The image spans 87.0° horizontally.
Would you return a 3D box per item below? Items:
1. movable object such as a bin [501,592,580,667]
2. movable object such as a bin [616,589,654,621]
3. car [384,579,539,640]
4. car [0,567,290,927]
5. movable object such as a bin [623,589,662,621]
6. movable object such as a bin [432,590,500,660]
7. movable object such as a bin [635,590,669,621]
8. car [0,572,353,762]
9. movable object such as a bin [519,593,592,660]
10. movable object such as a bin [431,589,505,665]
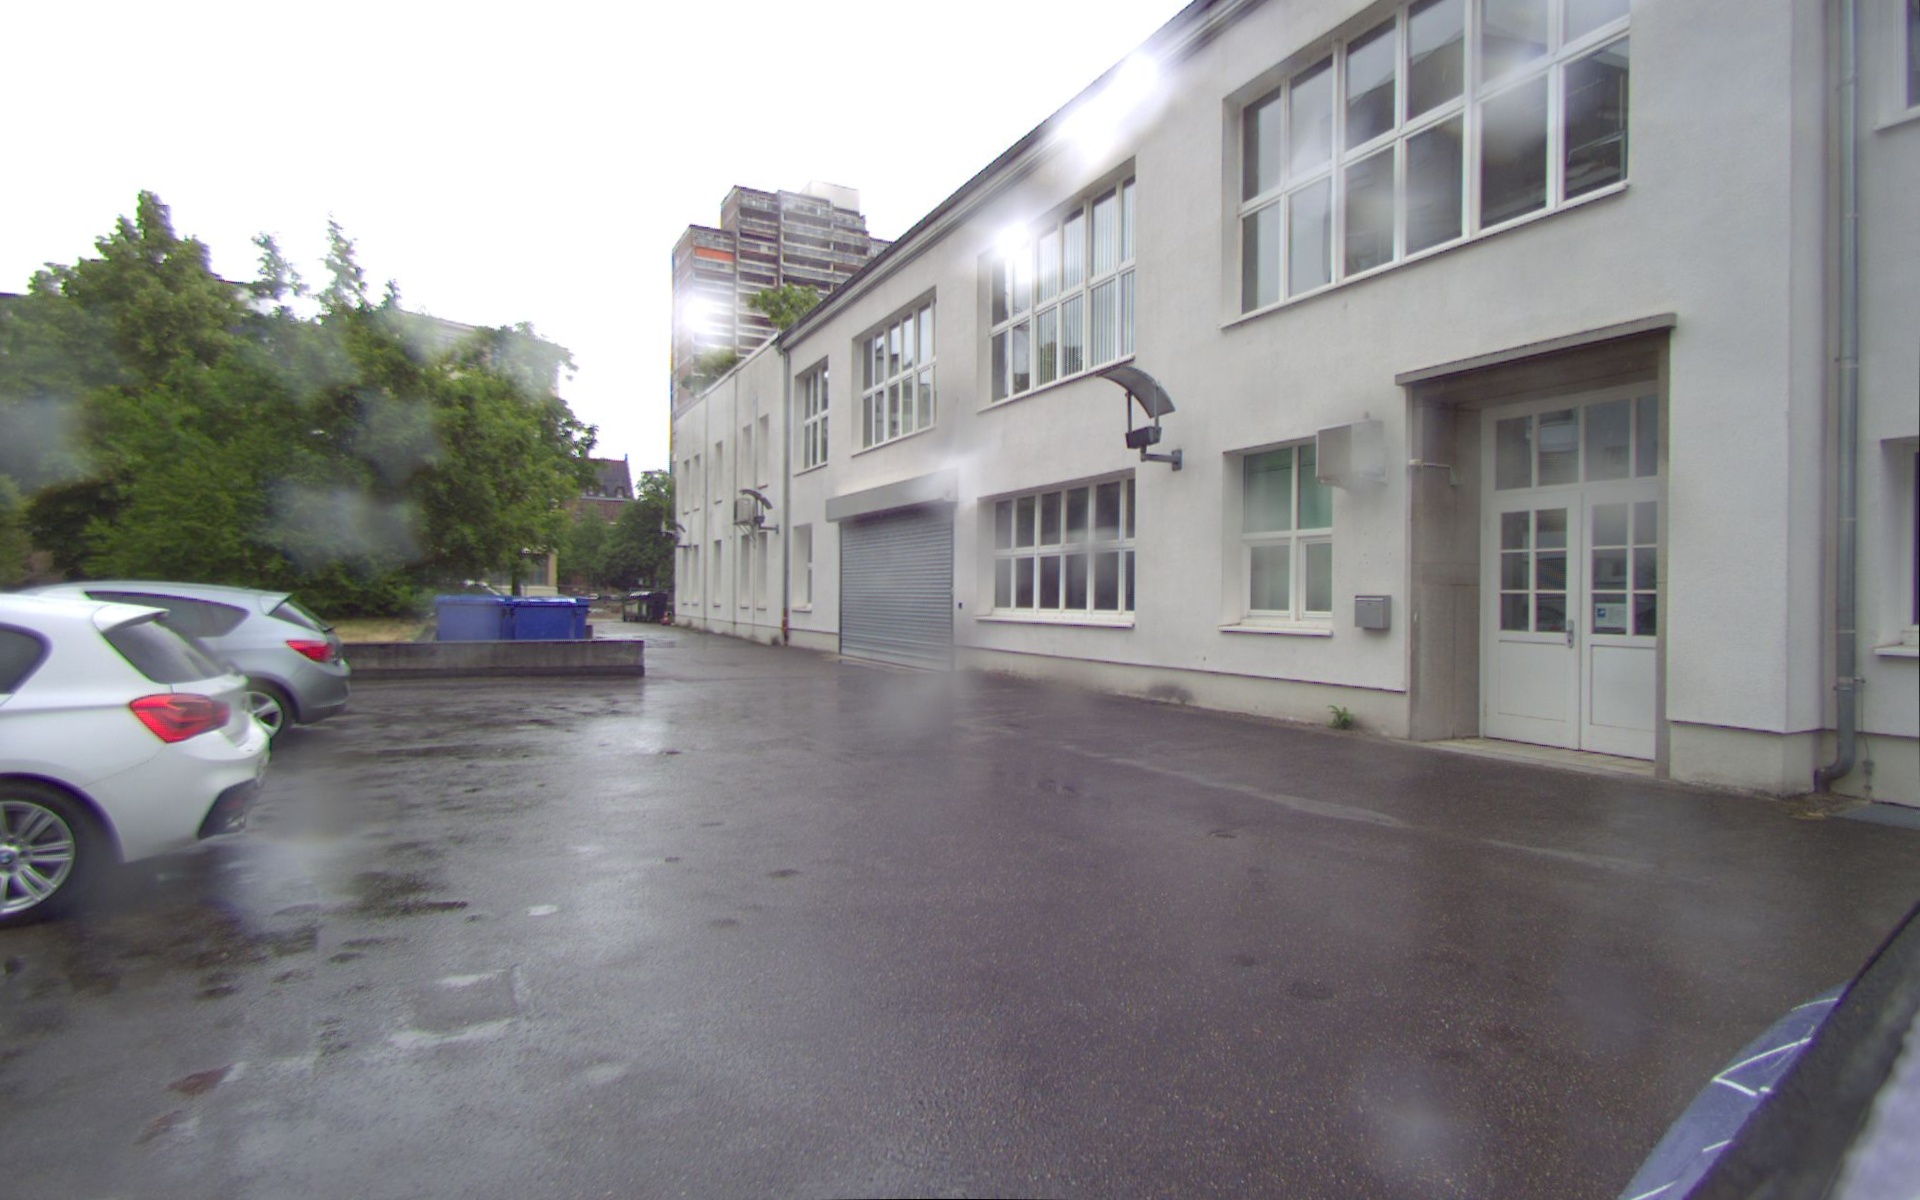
[{"bbox_3d":[-8.377,0.577,20.156,1.287,1.375,1.907,-1,-1,-27],"label":"movable object such as a bin"},{"bbox_3d":[-15.699,0.242,48.930,1.463,1.467,1.314,-1,-1,-32],"label":"movable object such as a bin"},{"bbox_3d":[-16.972,0.323,34.688,4.601,1.906,2.126,-1,-2,-25],"label":"car"},{"bbox_3d":[-5.544,0.619,4.520,4.137,1.508,2.002,0,0,-31],"label":"car"},{"bbox_3d":[-15.009,0.238,47.768,1.463,1.467,1.314,-1,-1,-32],"label":"movable object such as a bin"},{"bbox_3d":[-10.430,0.512,21.350,1.208,1.375,1.973,-1,-1,-27],"label":"movable object such as a bin"},{"bbox_3d":[-14.122,0.267,46.434,1.165,1.391,1.314,-1,-1,-32],"label":"movable object such as a bin"},{"bbox_3d":[-7.870,0.538,9.057,4.137,1.508,2.002,0,0,-31],"label":"car"},{"bbox_3d":[-8.839,0.572,22.075,1.287,1.375,1.907,-1,-1,-27],"label":"movable object such as a bin"},{"bbox_3d":[-9.528,0.508,19.563,1.208,1.375,1.973,-1,-1,-27],"label":"movable object such as a bin"}]
